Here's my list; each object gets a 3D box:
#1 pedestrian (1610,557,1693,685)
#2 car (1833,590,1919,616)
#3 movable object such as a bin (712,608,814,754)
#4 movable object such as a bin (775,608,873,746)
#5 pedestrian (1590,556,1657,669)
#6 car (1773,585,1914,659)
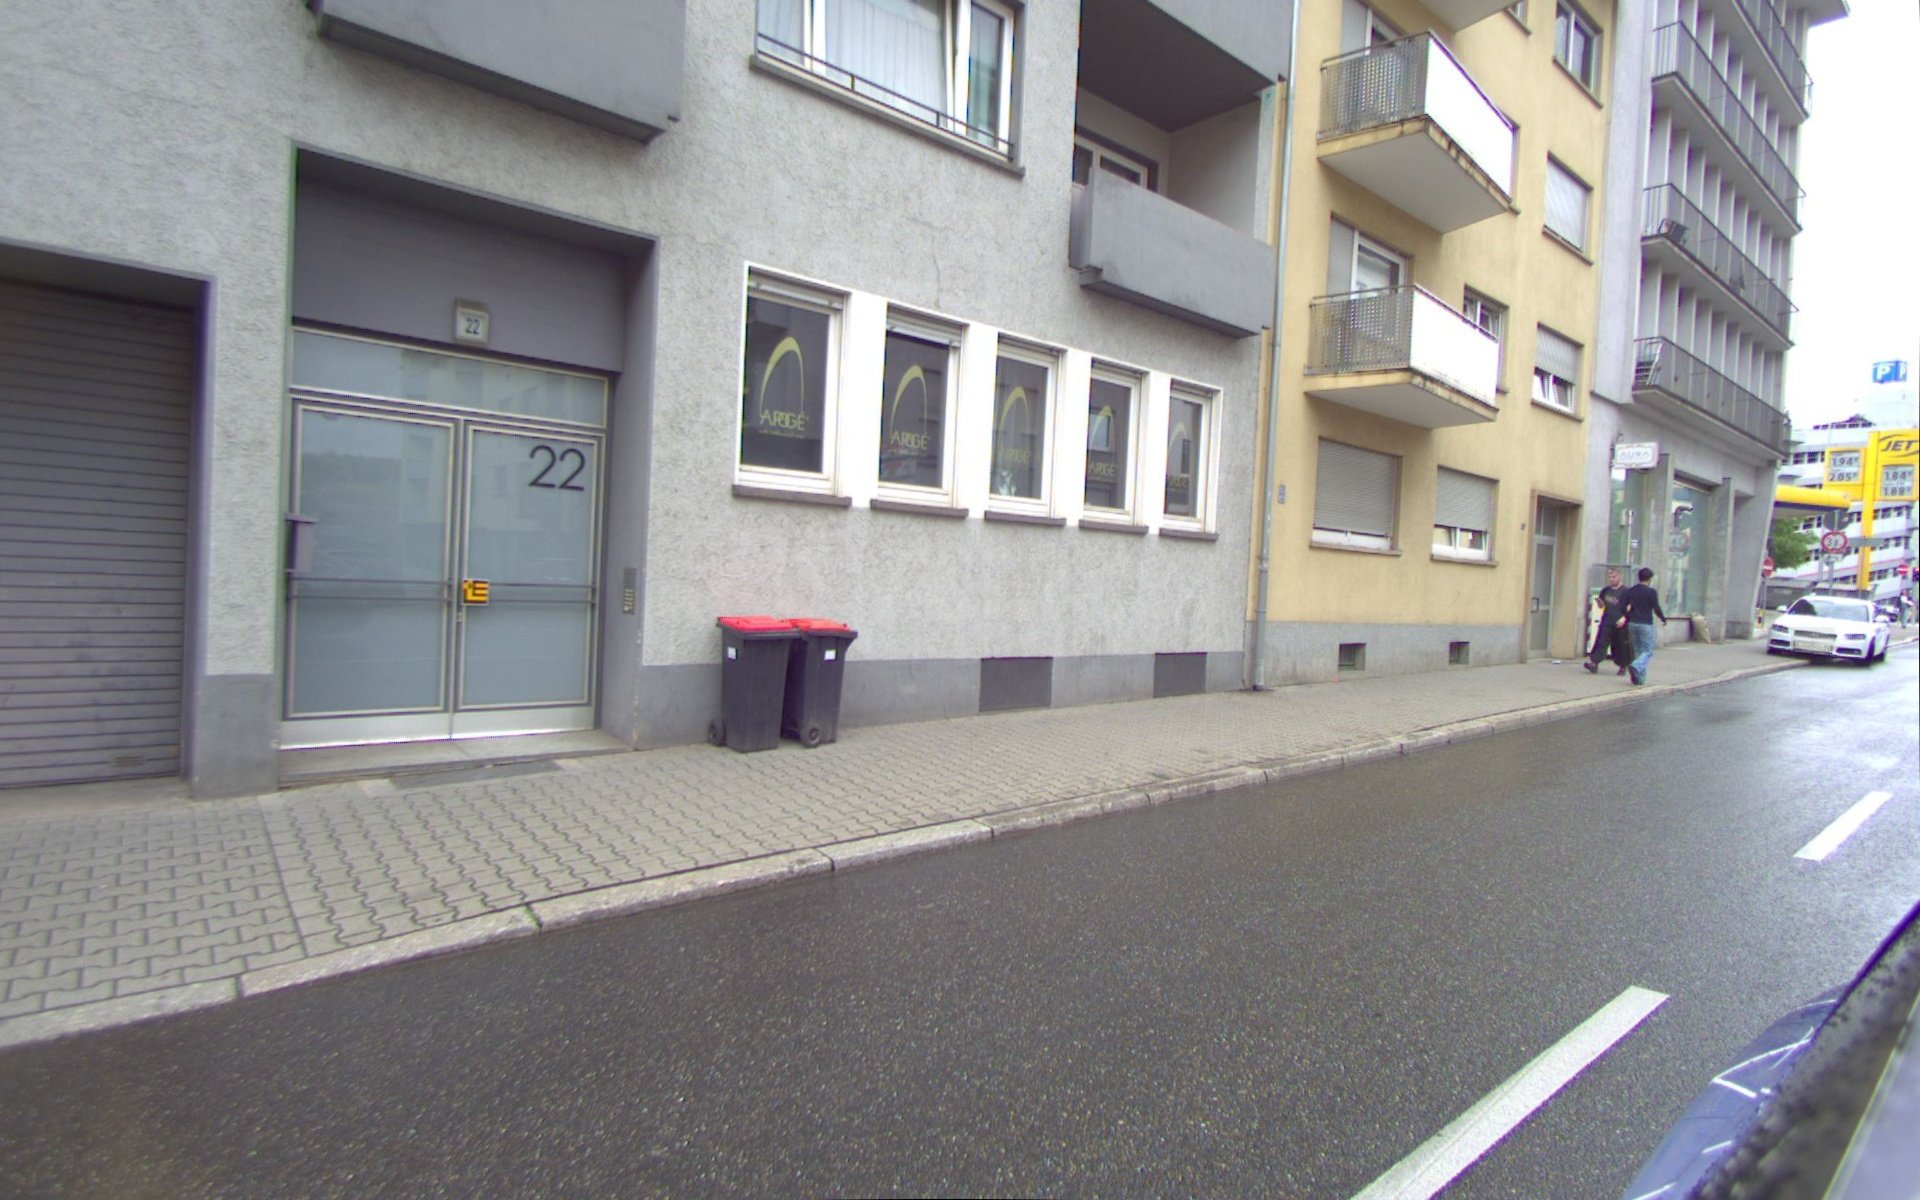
[{"bbox_3d":[10.251,0.293,15.002,1.038,1.799,0.644,0,5,-41],"label":"pedestrian"},{"bbox_3d":[54.898,0.176,60.302,1.737,1.463,4.003,0,0,-30],"label":"car"},{"bbox_3d":[-1.456,0.572,7.461,0.506,0.967,0.541,0,5,-40],"label":"movable object such as a bin"},{"bbox_3d":[-1.051,0.573,7.798,0.506,0.961,0.541,0,5,-40],"label":"movable object such as a bin"},{"bbox_3d":[10.944,0.189,16.698,0.873,1.777,0.678,0,3,-44],"label":"pedestrian"},{"bbox_3d":[20.140,0.437,23.018,4.093,1.453,1.803,0,4,-41],"label":"car"}]
